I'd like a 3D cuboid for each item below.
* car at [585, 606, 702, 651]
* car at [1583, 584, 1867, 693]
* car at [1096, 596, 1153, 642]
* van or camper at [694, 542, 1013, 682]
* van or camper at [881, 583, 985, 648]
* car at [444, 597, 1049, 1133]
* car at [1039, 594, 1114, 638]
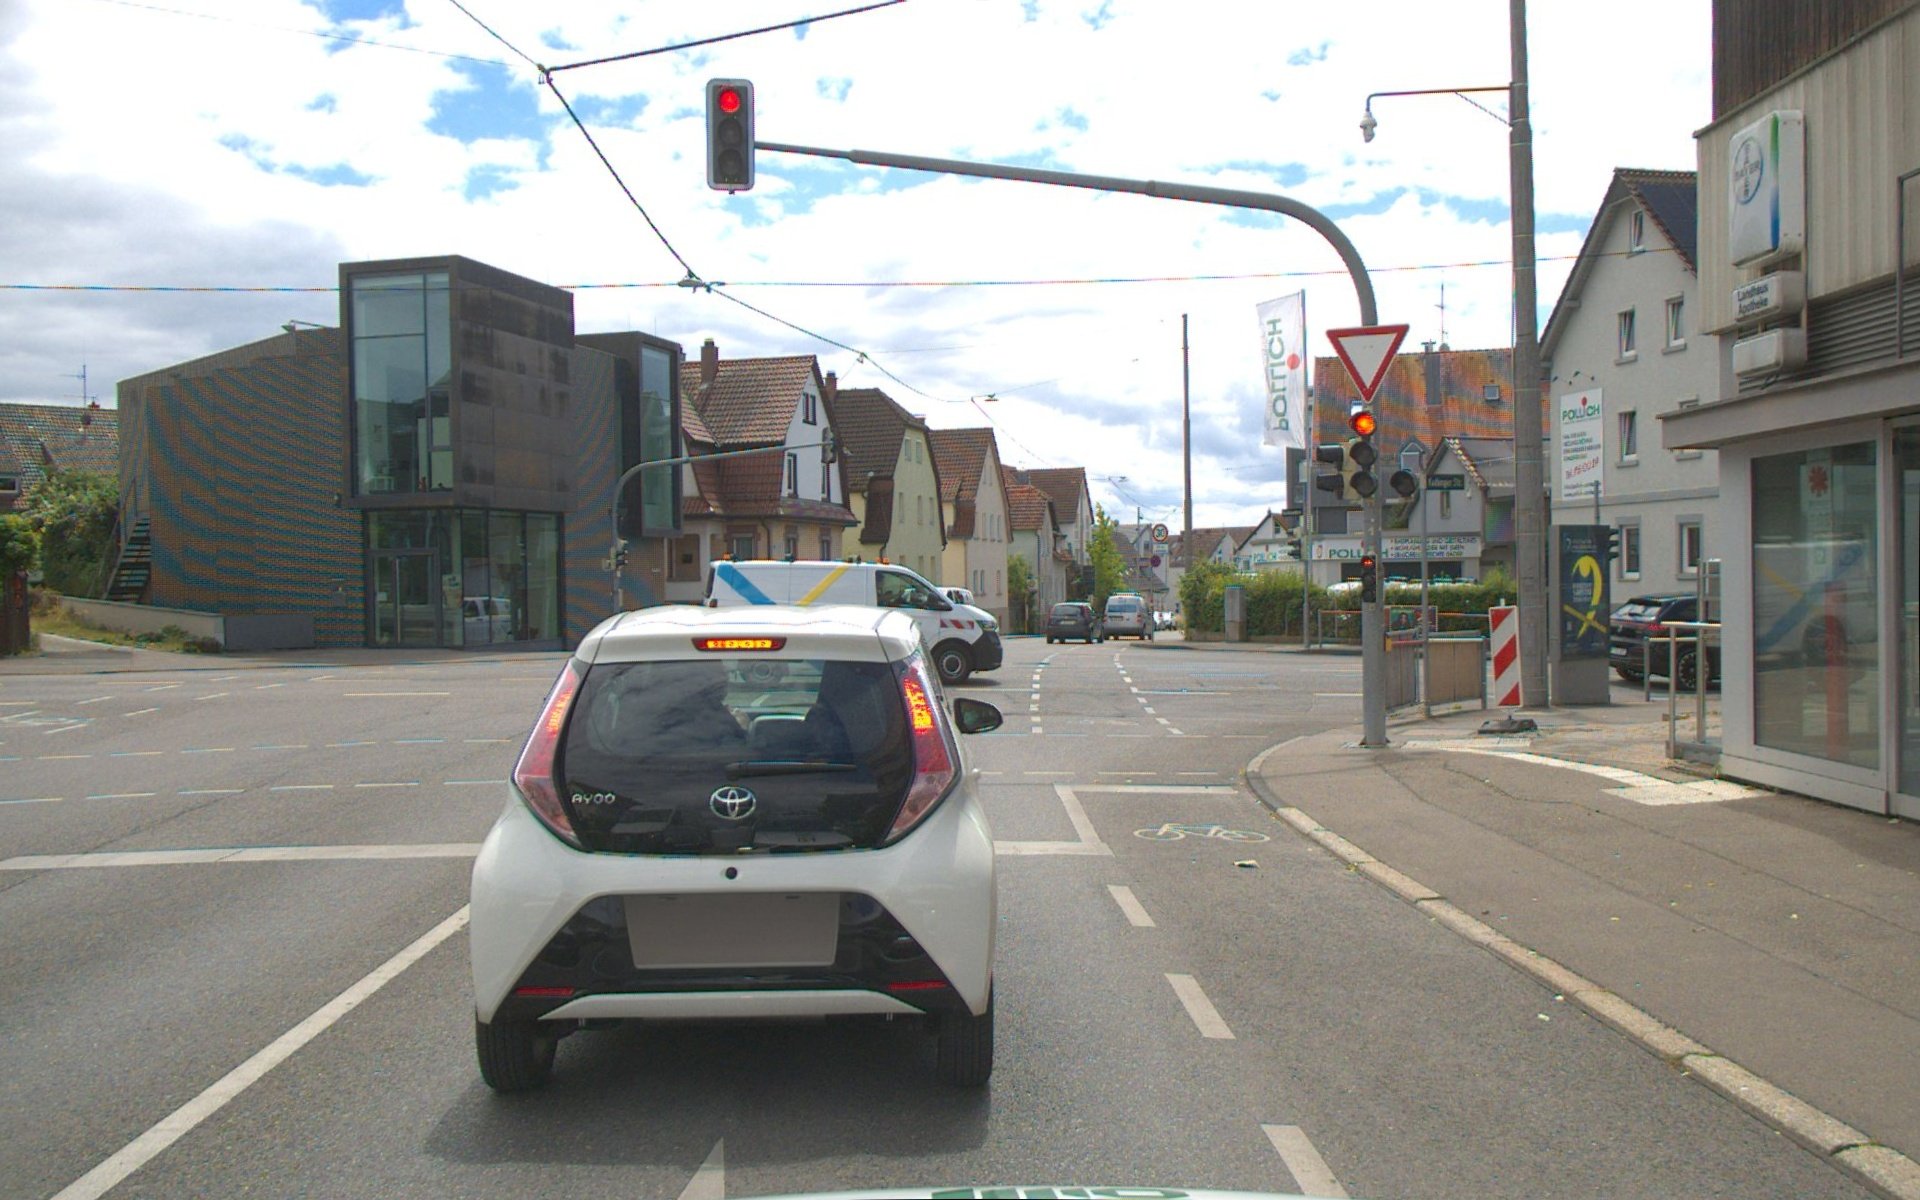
[{"bbox_3d":[-10.810,0.965,56.568,3.537,1.444,1.693,1,0,11],"label":"car"},{"bbox_3d":[14.009,0.665,30.396,4.417,1.773,1.996,-1,2,-10],"label":"car"},{"bbox_3d":[7.057,0.773,70.451,1.951,1.881,4.076,1,0,12],"label":"car"},{"bbox_3d":[-1.806,0.202,27.217,5.024,2.113,1.995,1,0,-10],"label":"van or camper"},{"bbox_3d":[-0.804,0.485,54.114,2.070,1.959,5.289,1,0,14],"label":"van or camper"},{"bbox_3d":[-0.660,0.741,6.269,1.663,1.482,3.297,1,0,-3],"label":"car"},{"bbox_3d":[4.229,0.558,59.603,1.951,1.512,4.003,1,0,15],"label":"car"}]
